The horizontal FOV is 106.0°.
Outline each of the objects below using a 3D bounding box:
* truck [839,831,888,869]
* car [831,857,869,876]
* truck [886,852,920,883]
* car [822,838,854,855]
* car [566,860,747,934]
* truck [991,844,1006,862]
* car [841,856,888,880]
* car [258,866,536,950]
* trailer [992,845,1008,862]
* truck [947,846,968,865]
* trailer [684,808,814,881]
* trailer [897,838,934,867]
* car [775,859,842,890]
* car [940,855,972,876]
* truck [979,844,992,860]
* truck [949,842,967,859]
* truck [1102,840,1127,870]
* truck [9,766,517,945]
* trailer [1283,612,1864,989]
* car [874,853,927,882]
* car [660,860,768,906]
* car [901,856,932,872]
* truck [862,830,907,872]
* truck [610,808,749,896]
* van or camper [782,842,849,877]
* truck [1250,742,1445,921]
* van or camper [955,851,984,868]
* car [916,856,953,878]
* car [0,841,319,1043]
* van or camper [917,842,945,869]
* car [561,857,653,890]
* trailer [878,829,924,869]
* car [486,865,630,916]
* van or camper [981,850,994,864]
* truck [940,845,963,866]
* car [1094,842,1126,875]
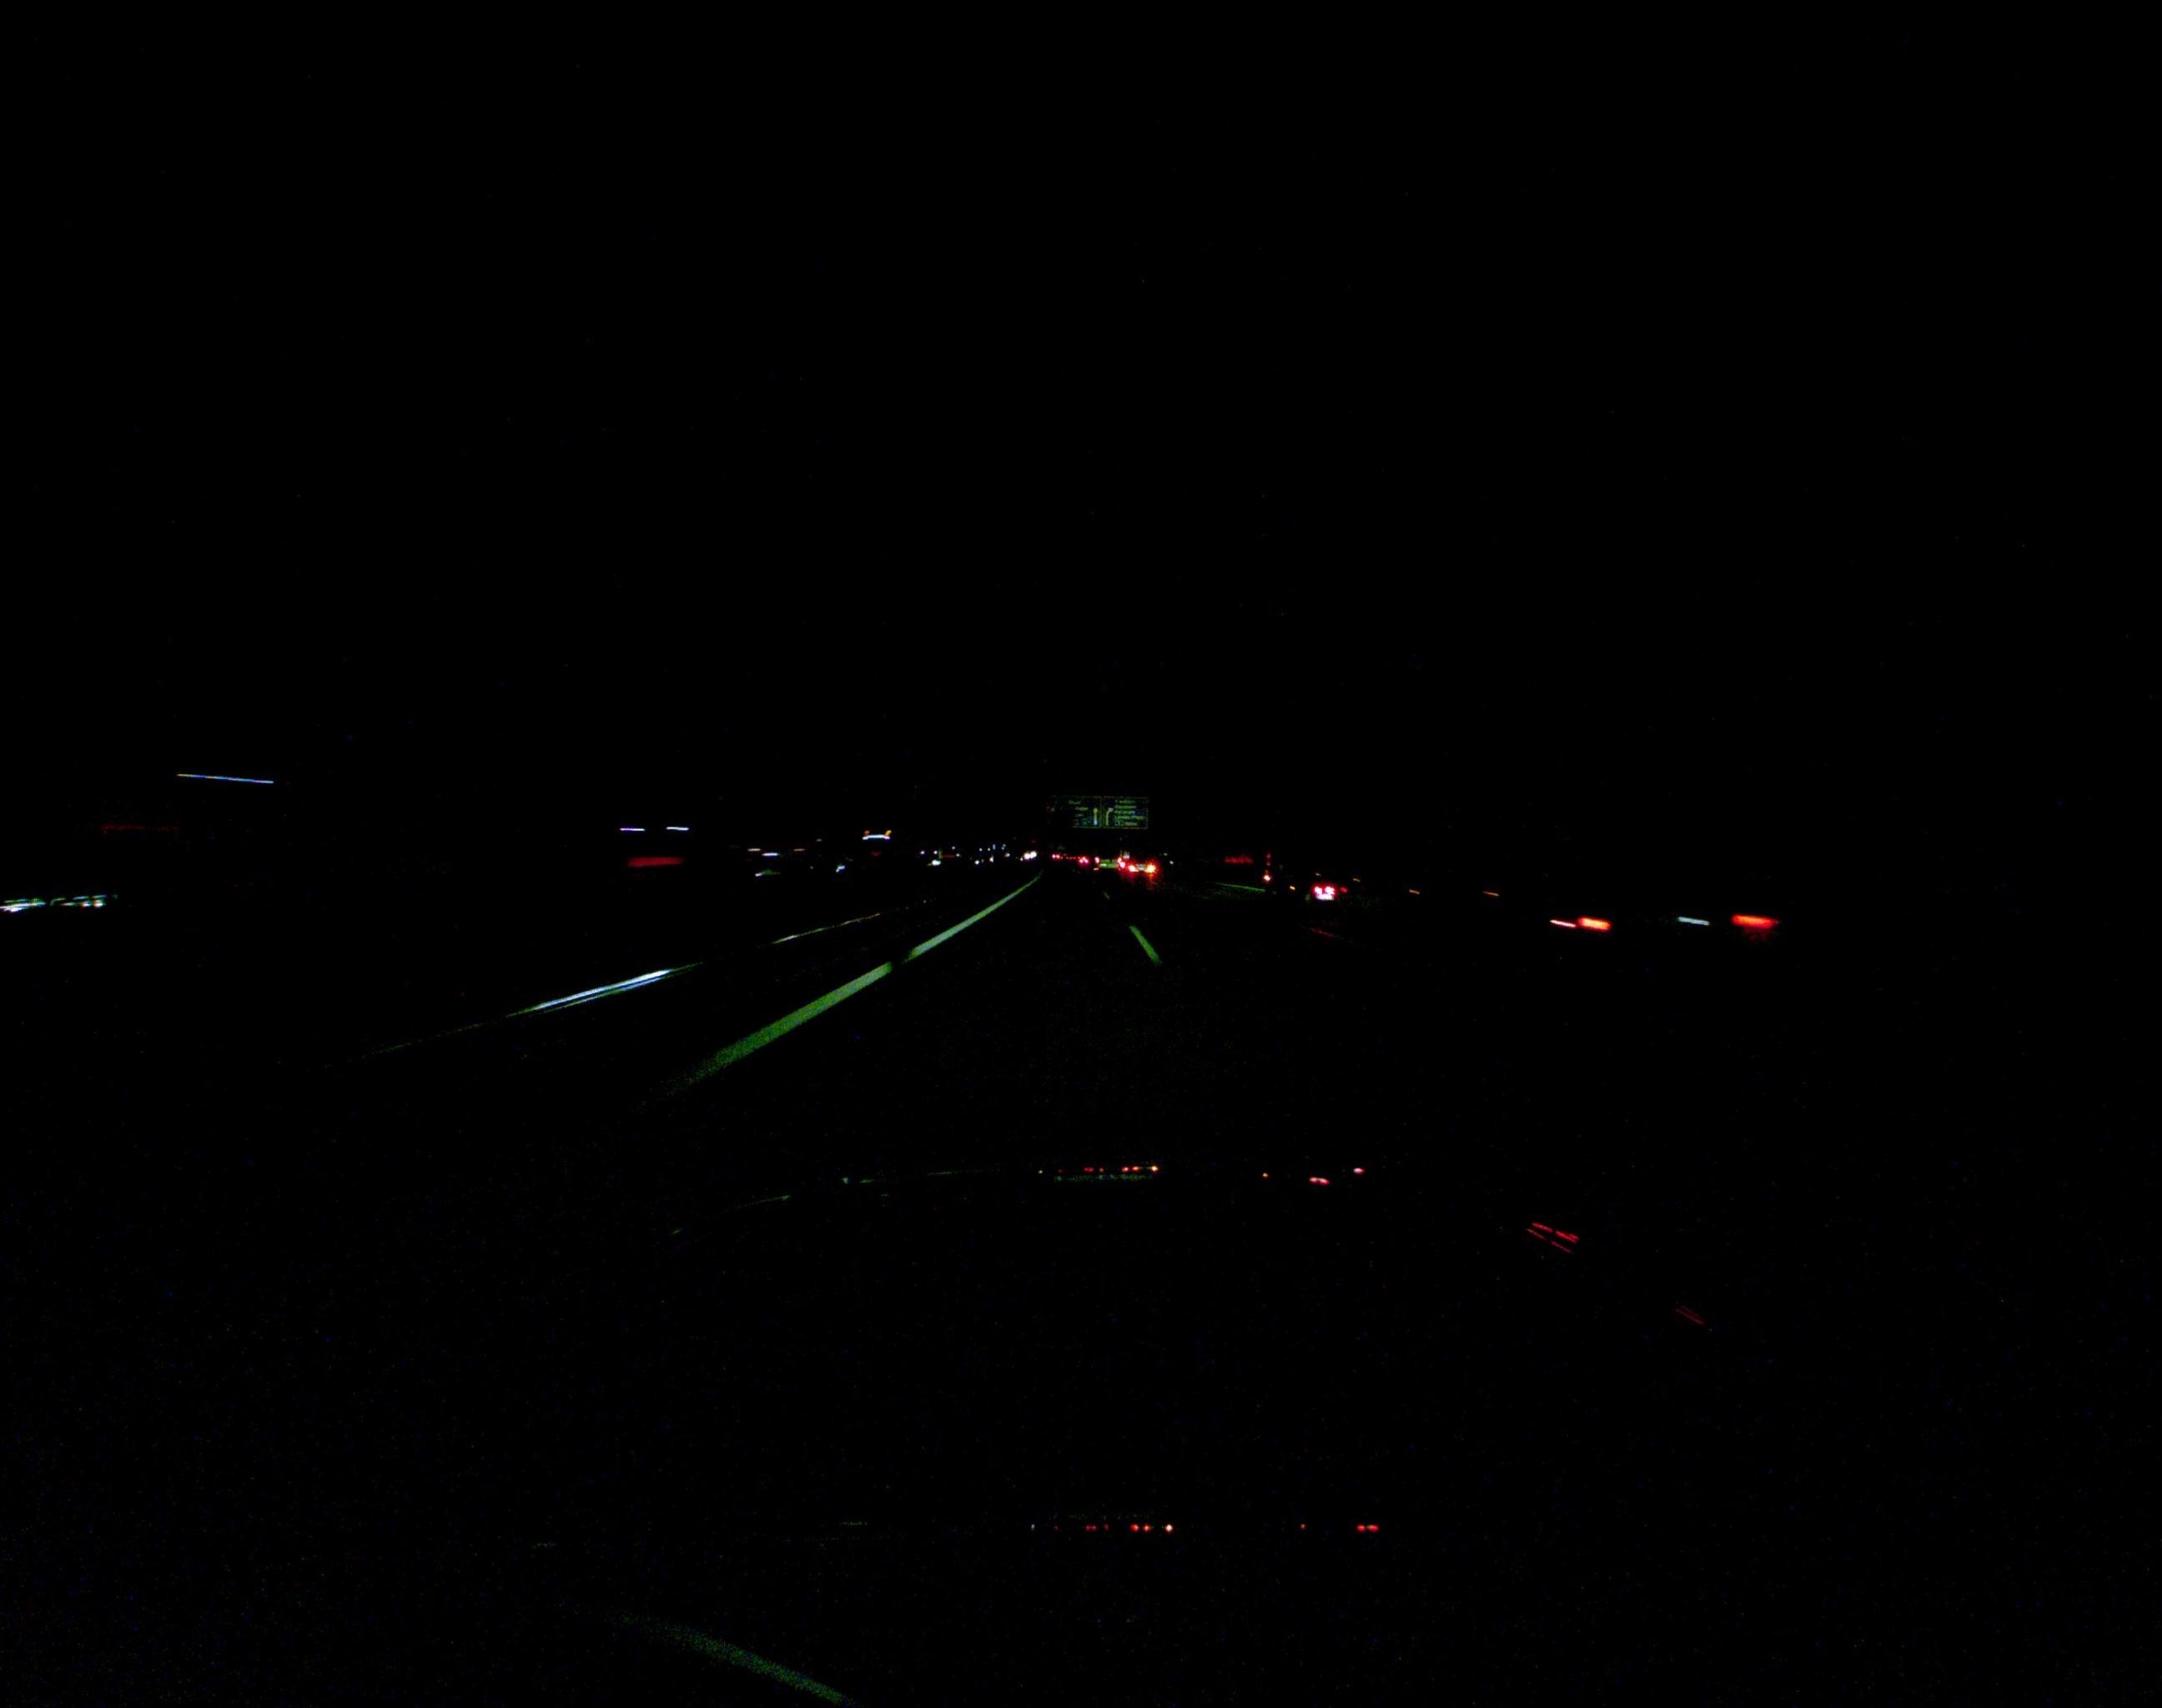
[{"bbox_3d":[-22.410,-0.343,84.432,2.387,3.627,11.170,1,-1,-2],"label":"truck"},{"bbox_3d":[-16.884,0.920,59.702,1.565,1.354,4.239,0,0,0],"label":"car"},{"bbox_3d":[-21.933,1.656,100.605,2.876,3.675,7.256,0,0,-3],"label":"truck"},{"bbox_3d":[-20.953,-0.639,70.352,1.565,1.354,4.000,0,0,0],"label":"car"},{"bbox_3d":[-8.699,0.819,17.112,1.564,1.354,4.002,0,0,2],"label":"car"},{"bbox_3d":[-18.095,-0.193,179.560,2.868,3.674,6.771,2,-1,-3],"label":"truck"},{"bbox_3d":[-12.887,0.818,48.695,1.564,1.354,4.002,0,0,2],"label":"car"},{"bbox_3d":[-12.507,0.901,15.309,1.564,1.315,4.163,0,0,2],"label":"car"},{"bbox_3d":[-18.449,-0.085,186.238,2.879,3.672,12.200,2,-1,-3],"label":"trailer"},{"bbox_3d":[-20.183,0.304,133.207,2.550,2.986,7.445,0,-1,-2],"label":"truck"},{"bbox_3d":[-16.255,-0.347,40.795,2.597,3.176,9.002,2,-1,0],"label":"trailer"},{"bbox_3d":[-22.408,-0.163,110.845,2.876,3.675,13.117,0,0,-3],"label":"trailer"},{"bbox_3d":[-12.529,0.922,37.722,1.564,1.354,4.003,0,0,3],"label":"car"},{"bbox_3d":[-9.459,0.860,62.021,1.651,1.471,4.002,0,0,2],"label":"car"},{"bbox_3d":[-23.188,-0.422,198.391,2.871,3.673,6.037,2,0,-6],"label":"truck"},{"bbox_3d":[-26.051,-0.617,172.207,2.953,3.442,6.355,2,0,-3],"label":"truck"},{"bbox_3d":[5.278,0.096,131.174,3.334,4.476,13.906,2,0,0],"label":"truck"},{"bbox_3d":[-16.349,0.042,17.546,2.548,2.959,8.173,0,0,1],"label":"truck"},{"bbox_3d":[7.024,-0.577,15.486,2.845,4.067,13.199,-1,0,-1],"label":"trailer"},{"bbox_3d":[-8.950,0.665,40.616,1.564,1.354,4.002,0,0,2],"label":"car"},{"bbox_3d":[-11.851,0.885,26.587,1.564,1.354,4.002,0,0,2],"label":"car"},{"bbox_3d":[-14.507,0.853,71.900,1.790,1.354,4.239,0,0,0],"label":"car"},{"bbox_3d":[-17.321,-0.246,72.062,2.397,3.514,6.719,1,0,-1],"label":"truck"},{"bbox_3d":[-16.364,0.002,33.674,2.635,3.220,5.795,2,-1,1],"label":"truck"},{"bbox_3d":[-16.720,0.343,51.815,2.182,2.014,7.631,0,0,-4],"label":"van or camper"},{"bbox_3d":[6.941,-0.511,22.545,2.853,4.077,7.509,-1,0,0],"label":"truck"},{"bbox_3d":[-9.482,0.455,69.591,1.815,1.354,5.348,0,0,-2],"label":"van or camper"},{"bbox_3d":[-9.371,0.819,52.498,1.564,1.354,4.001,0,0,1],"label":"car"},{"bbox_3d":[-8.553,0.615,5.759,1.865,1.426,4.517,0,0,4],"label":"car"},{"bbox_3d":[-18.775,0.164,102.332,2.426,3.272,7.387,0,0,-2],"label":"van or camper"},{"bbox_3d":[-20.315,0.796,35.068,1.565,1.354,4.000,0,0,1],"label":"car"},{"bbox_3d":[-17.596,-0.428,80.304,2.387,3.627,11.170,1,-1,-2],"label":"trailer"},{"bbox_3d":[-15.958,1.045,25.157,1.566,1.354,4.573,-1,0,-1],"label":"car"},{"bbox_3d":[-18.096,0.665,158.132,2.079,2.632,7.594,0,0,-4],"label":"van or camper"},{"bbox_3d":[-19.783,0.305,124.355,2.550,2.986,7.445,0,-1,-2],"label":"truck"},{"bbox_3d":[2.451,0.423,67.856,2.326,2.640,5.254,1,-2,5],"label":"car"}]
